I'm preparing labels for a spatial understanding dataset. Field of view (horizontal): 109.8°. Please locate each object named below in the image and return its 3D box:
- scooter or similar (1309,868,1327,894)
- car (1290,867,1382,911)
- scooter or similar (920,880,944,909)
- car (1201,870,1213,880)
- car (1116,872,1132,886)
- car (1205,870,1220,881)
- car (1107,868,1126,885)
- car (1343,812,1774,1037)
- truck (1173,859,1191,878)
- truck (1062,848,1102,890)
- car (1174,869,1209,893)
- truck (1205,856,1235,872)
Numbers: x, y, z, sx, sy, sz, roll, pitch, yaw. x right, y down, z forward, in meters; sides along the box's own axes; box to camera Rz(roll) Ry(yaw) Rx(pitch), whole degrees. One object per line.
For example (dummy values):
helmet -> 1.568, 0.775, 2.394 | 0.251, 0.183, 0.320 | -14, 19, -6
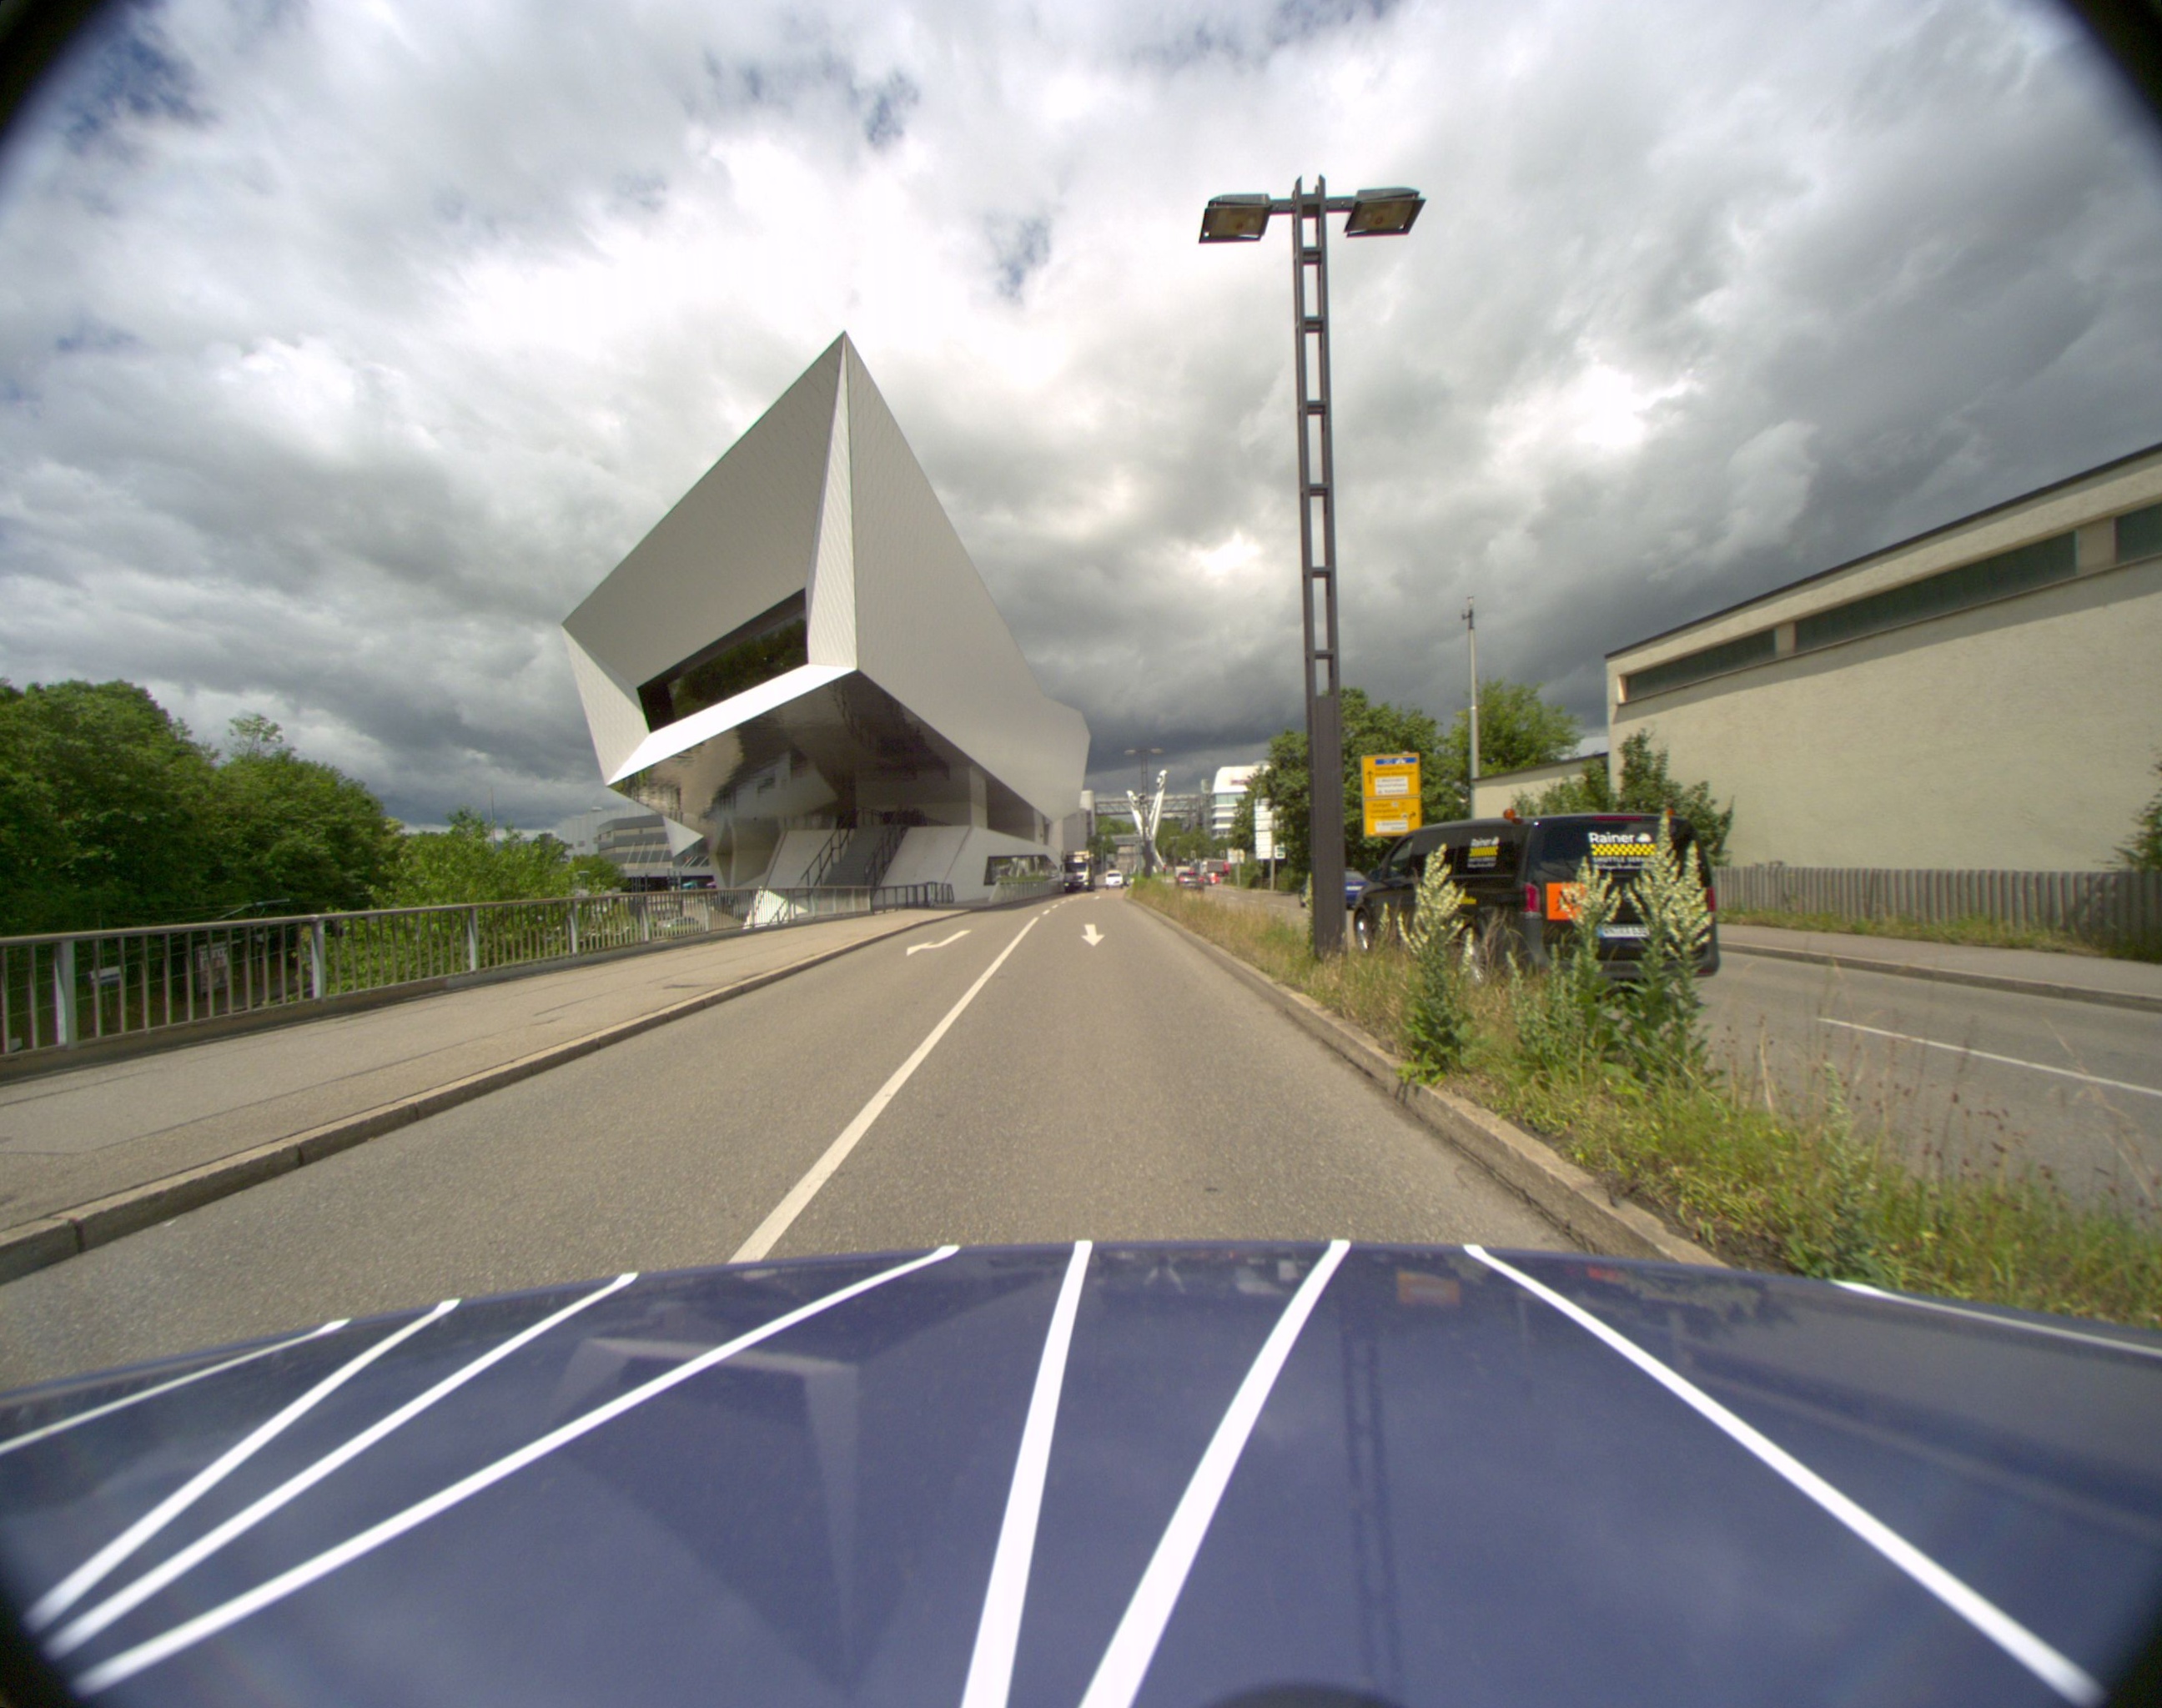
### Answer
scooter or similar -> 12.504, 1.407, 40.148 | 0.492, 1.296, 1.644 | -4, -2, 6
car -> 8.367, 1.101, 25.282 | 1.758, 1.268, 4.000 | 0, 0, 1
scooter or similar -> -6.647, 1.787, 34.032 | 0.655, 1.206, 1.858 | -1, -1, 1
car -> 19.819, 3.238, 119.590 | 1.843, 1.498, 4.565 | -2, -2, 8
car -> 5.873, 3.363, 103.079 | 1.817, 1.662, 4.246 | -2, 0, 7
car -> 23.722, 3.829, 136.480 | 1.996, 1.946, 4.635 | -3, -1, 17
car -> 4.011, 2.465, 85.389 | 1.986, 1.702, 4.762 | -2, 0, 3
car -> 4.963, 0.626, 8.997 | 1.998, 1.877, 4.869 | -2, 0, 0
truck -> 18.032, 2.640, 135.010 | 2.861, 2.839, 9.388 | -2, -3, 9
truck -> 0.212, 1.425, 73.553 | 2.842, 3.668, 10.760 | -2, -1, 5
car -> 7.777, 1.898, 54.037 | 1.882, 1.617, 4.444 | 0, -1, 1
truck -> 34.248, 2.520, 187.791 | 2.364, 3.545, 8.975 | -3, -2, -24
